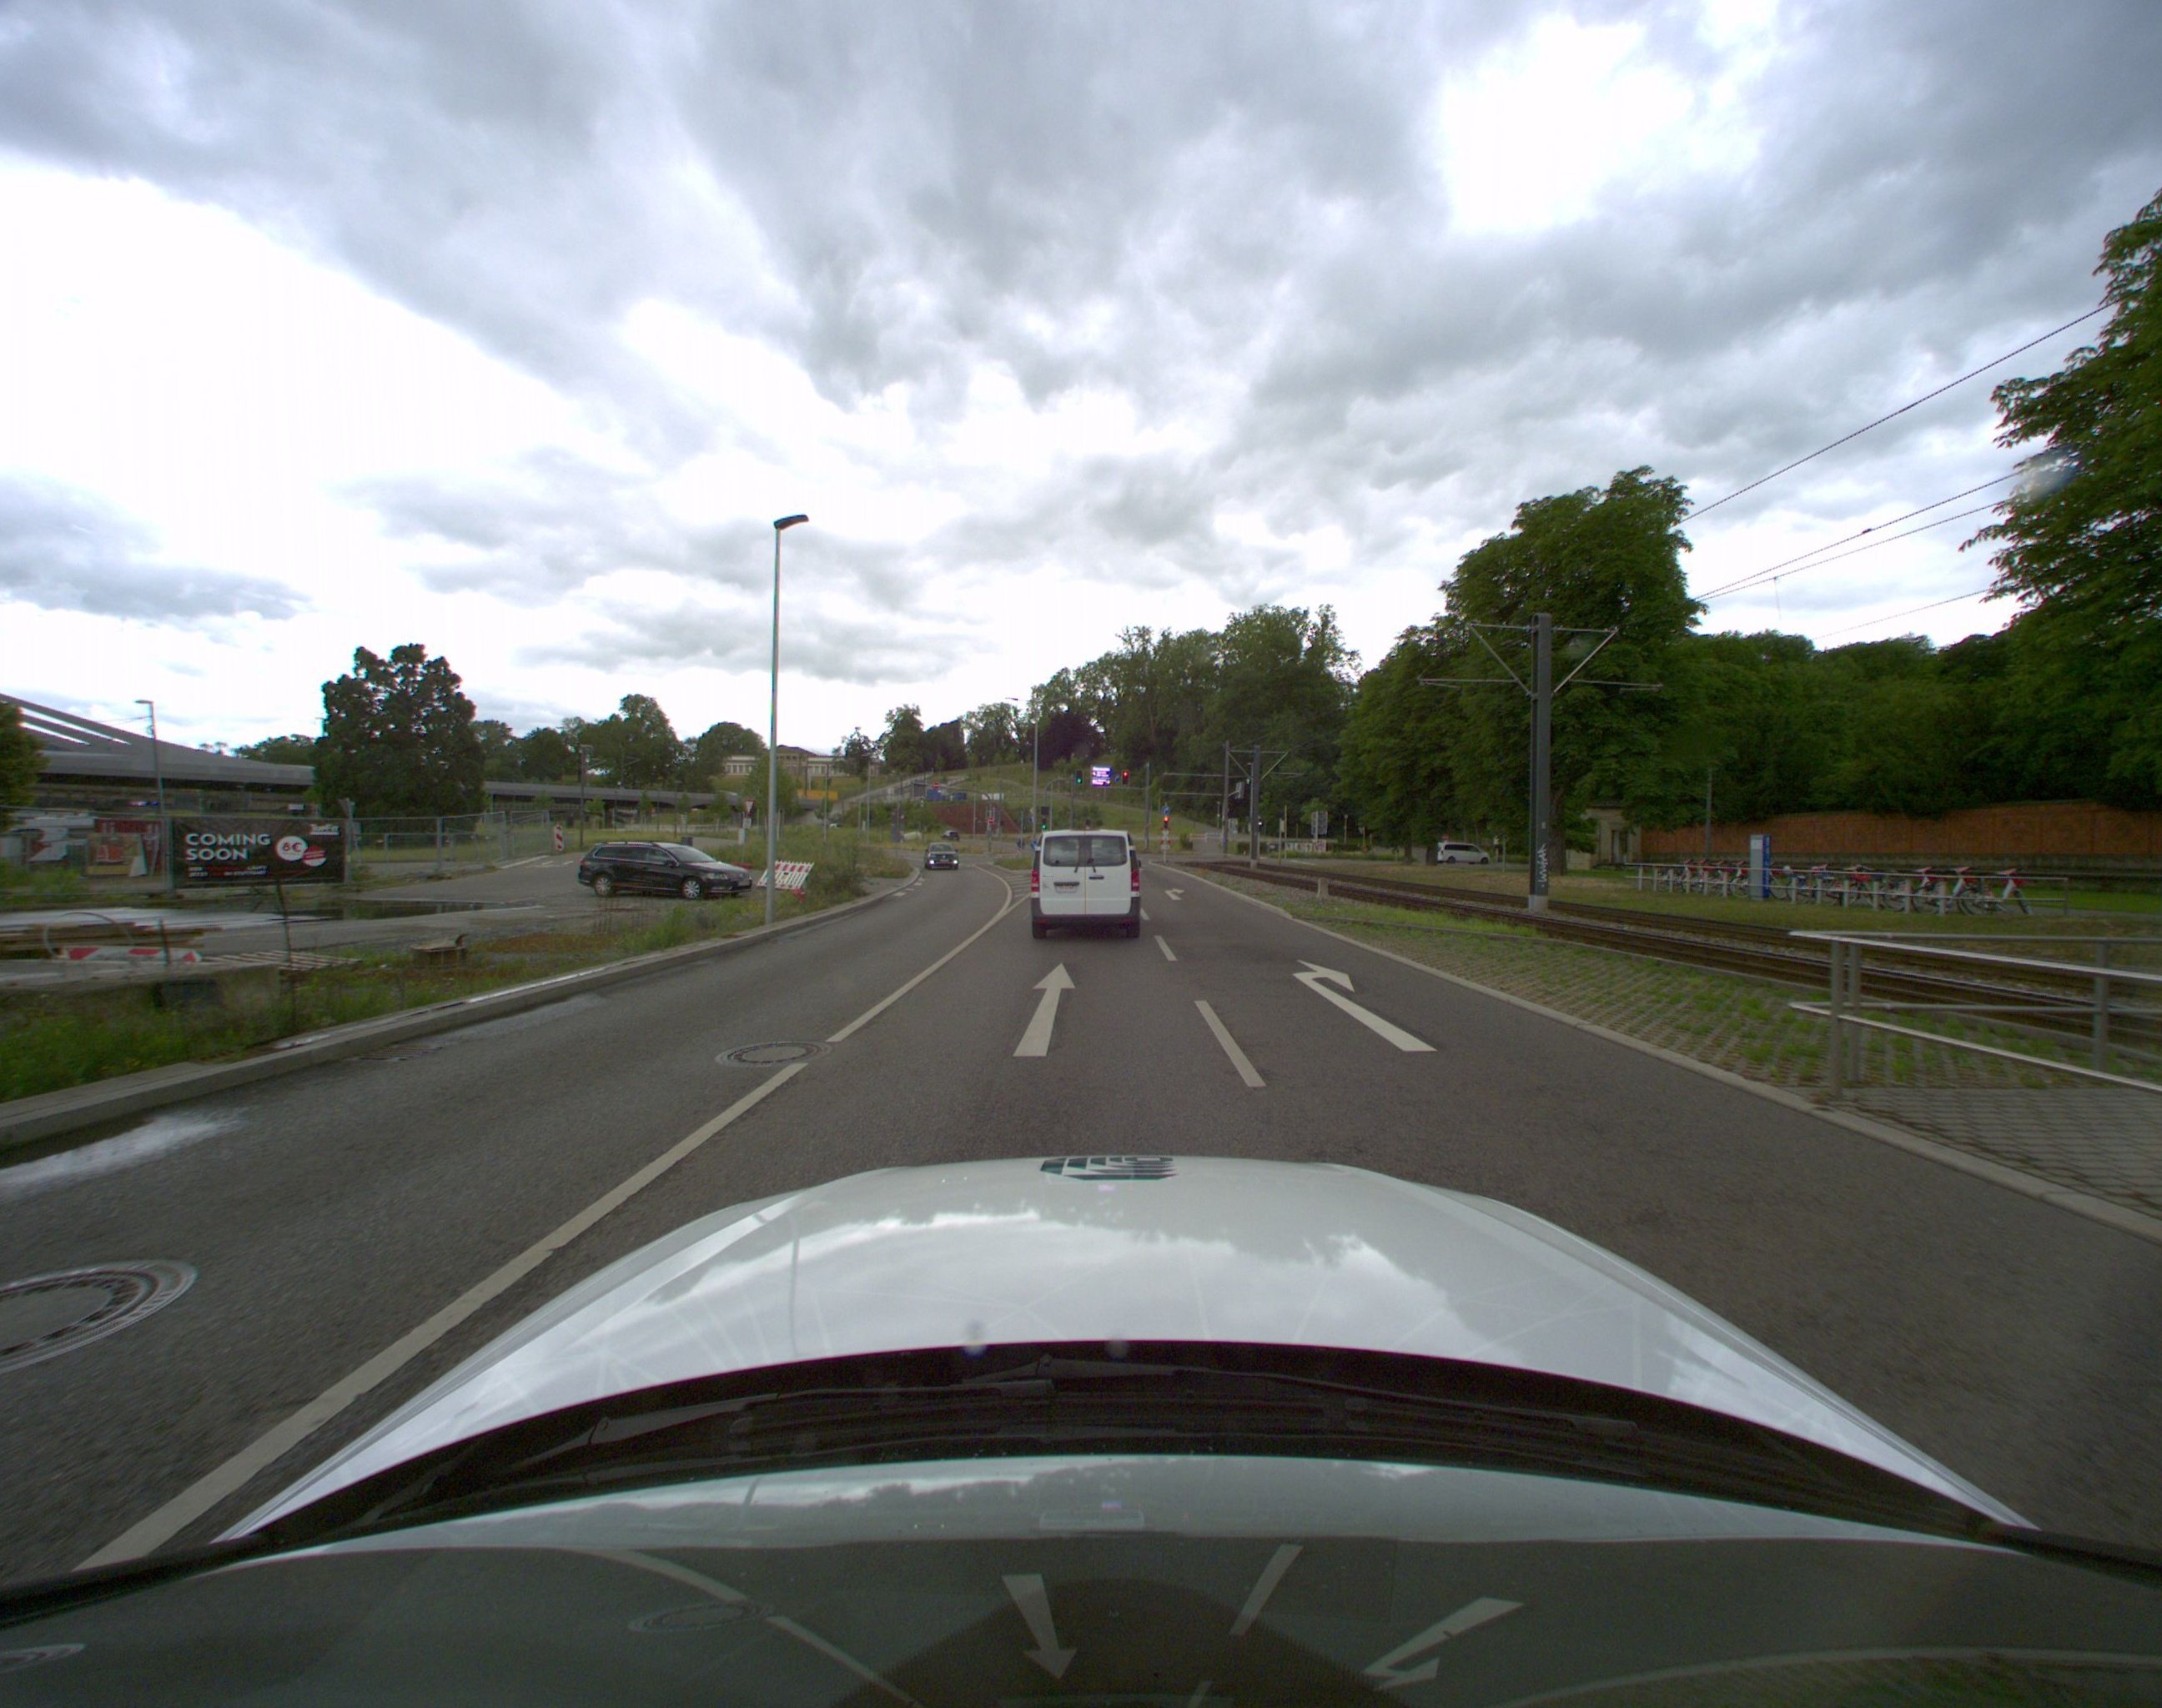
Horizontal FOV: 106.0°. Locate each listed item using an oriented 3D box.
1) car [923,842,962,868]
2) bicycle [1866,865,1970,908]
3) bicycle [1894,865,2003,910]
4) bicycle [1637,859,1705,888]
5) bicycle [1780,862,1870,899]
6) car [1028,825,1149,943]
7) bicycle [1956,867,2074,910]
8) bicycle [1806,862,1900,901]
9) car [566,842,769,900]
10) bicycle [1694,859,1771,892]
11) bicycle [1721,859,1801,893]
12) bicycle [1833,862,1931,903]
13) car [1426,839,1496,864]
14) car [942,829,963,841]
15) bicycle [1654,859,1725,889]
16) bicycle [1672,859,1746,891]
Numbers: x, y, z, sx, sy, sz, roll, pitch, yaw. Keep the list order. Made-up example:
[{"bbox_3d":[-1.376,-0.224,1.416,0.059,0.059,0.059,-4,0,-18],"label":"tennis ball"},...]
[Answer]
[{"bbox_3d":[-8.242,0.029,48.279,1.882,1.477,3.980,0,1,-15],"label":"car"},{"bbox_3d":[19.855,0.758,19.330,1.905,0.975,0.531,0,0,1],"label":"bicycle"},{"bbox_3d":[19.890,0.760,18.682,1.905,0.975,0.531,0,0,1],"label":"bicycle"},{"bbox_3d":[19.891,0.648,27.481,1.905,0.975,0.531,0,0,1],"label":"bicycle"},{"bbox_3d":[19.901,0.699,21.793,1.905,0.975,0.531,0,0,1],"label":"bicycle"},{"bbox_3d":[0.051,0.453,15.337,1.954,1.903,4.458,0,1,-2],"label":"car"},{"bbox_3d":[20.118,0.734,17.565,1.905,0.895,0.531,0,0,1],"label":"bicycle"},{"bbox_3d":[19.897,0.711,21.011,1.905,0.975,0.531,0,0,1],"label":"bicycle"},{"bbox_3d":[-11.254,0.416,22.306,4.679,1.477,2.006,0,1,11],"label":"car"},{"bbox_3d":[19.875,0.637,24.846,1.905,0.975,0.531,0,0,1],"label":"bicycle"},{"bbox_3d":[20.047,0.637,24.029,1.905,0.975,0.531,0,0,1],"label":"bicycle"},{"bbox_3d":[19.912,0.708,20.270,1.905,0.975,0.531,0,0,1],"label":"bicycle"},{"bbox_3d":[33.084,-0.212,70.886,5.131,2.013,2.202,2,0,-8],"label":"car"},{"bbox_3d":[-18.237,-2.667,115.639,1.946,1.627,3.969,2,1,-24],"label":"car"},{"bbox_3d":[19.824,0.645,26.556,1.905,0.975,0.531,0,0,1],"label":"bicycle"},{"bbox_3d":[19.723,0.640,25.575,1.905,0.975,0.531,0,0,1],"label":"bicycle"}]
